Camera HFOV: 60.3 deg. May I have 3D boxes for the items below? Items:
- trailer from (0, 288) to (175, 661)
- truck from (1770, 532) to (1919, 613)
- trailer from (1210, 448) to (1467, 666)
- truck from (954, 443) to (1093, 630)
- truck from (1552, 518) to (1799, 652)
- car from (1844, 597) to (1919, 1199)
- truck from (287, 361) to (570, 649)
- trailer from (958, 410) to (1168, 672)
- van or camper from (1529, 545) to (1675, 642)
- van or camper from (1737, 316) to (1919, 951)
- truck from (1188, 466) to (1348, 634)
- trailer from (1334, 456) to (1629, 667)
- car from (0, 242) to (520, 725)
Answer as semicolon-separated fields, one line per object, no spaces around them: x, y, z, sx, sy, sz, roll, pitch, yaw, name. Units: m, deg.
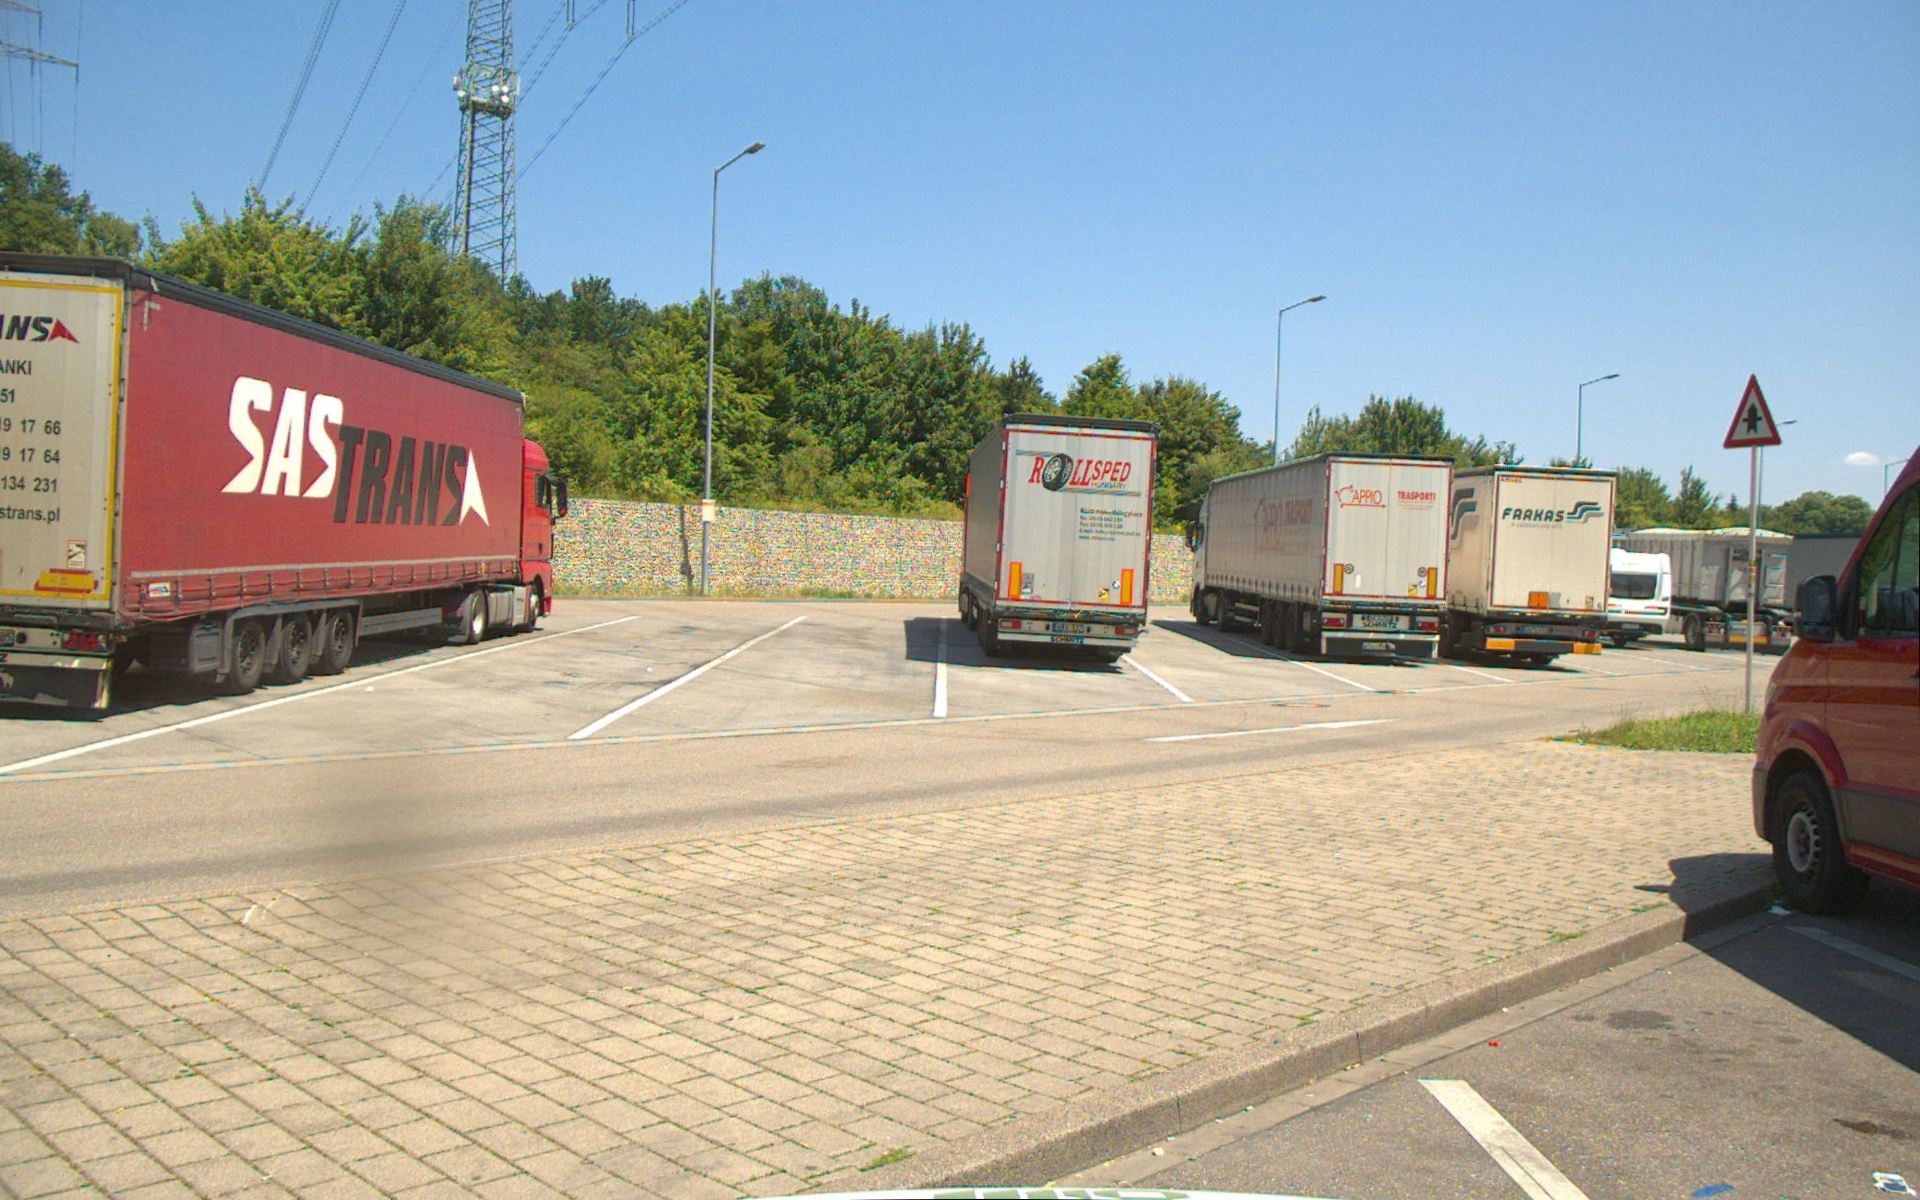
-12.549;-1.409;17.174;2.756;4.340;12.940;2;2;-1;trailer
34.698;-1.071;63.650;2.082;2.869;9.777;1;1;-1;truck
8.243;-1.093;38.118;2.808;4.107;12.438;2;2;-1;trailer
1.421;-1.571;40.763;2.809;4.107;7.026;2;2;-2;truck
21.745;-0.652;51.257;2.437;3.630;11.423;2;2;-1;truck
2.538;0.797;1.125;1.584;1.509;3.762;1;1;-6;car
-8.700;-1.534;27.890;2.641;4.184;6.239;2;2;0;truck
1.651;-1.243;33.683;2.809;4.107;14.238;2;2;-2;trailer
18.264;-0.225;47.361;2.061;2.606;5.372;1;1;0;van or camper
4.988;0.176;5.573;1.954;2.700;6.482;1;1;3;van or camper
8.164;-1.389;44.749;2.808;4.107;6.956;2;2;-1;truck
11.820;-1.026;39.236;2.808;4.107;12.438;2;2;-1;trailer
-8.678;-1.284;20.973;2.641;4.184;12.935;2;2;0;car
